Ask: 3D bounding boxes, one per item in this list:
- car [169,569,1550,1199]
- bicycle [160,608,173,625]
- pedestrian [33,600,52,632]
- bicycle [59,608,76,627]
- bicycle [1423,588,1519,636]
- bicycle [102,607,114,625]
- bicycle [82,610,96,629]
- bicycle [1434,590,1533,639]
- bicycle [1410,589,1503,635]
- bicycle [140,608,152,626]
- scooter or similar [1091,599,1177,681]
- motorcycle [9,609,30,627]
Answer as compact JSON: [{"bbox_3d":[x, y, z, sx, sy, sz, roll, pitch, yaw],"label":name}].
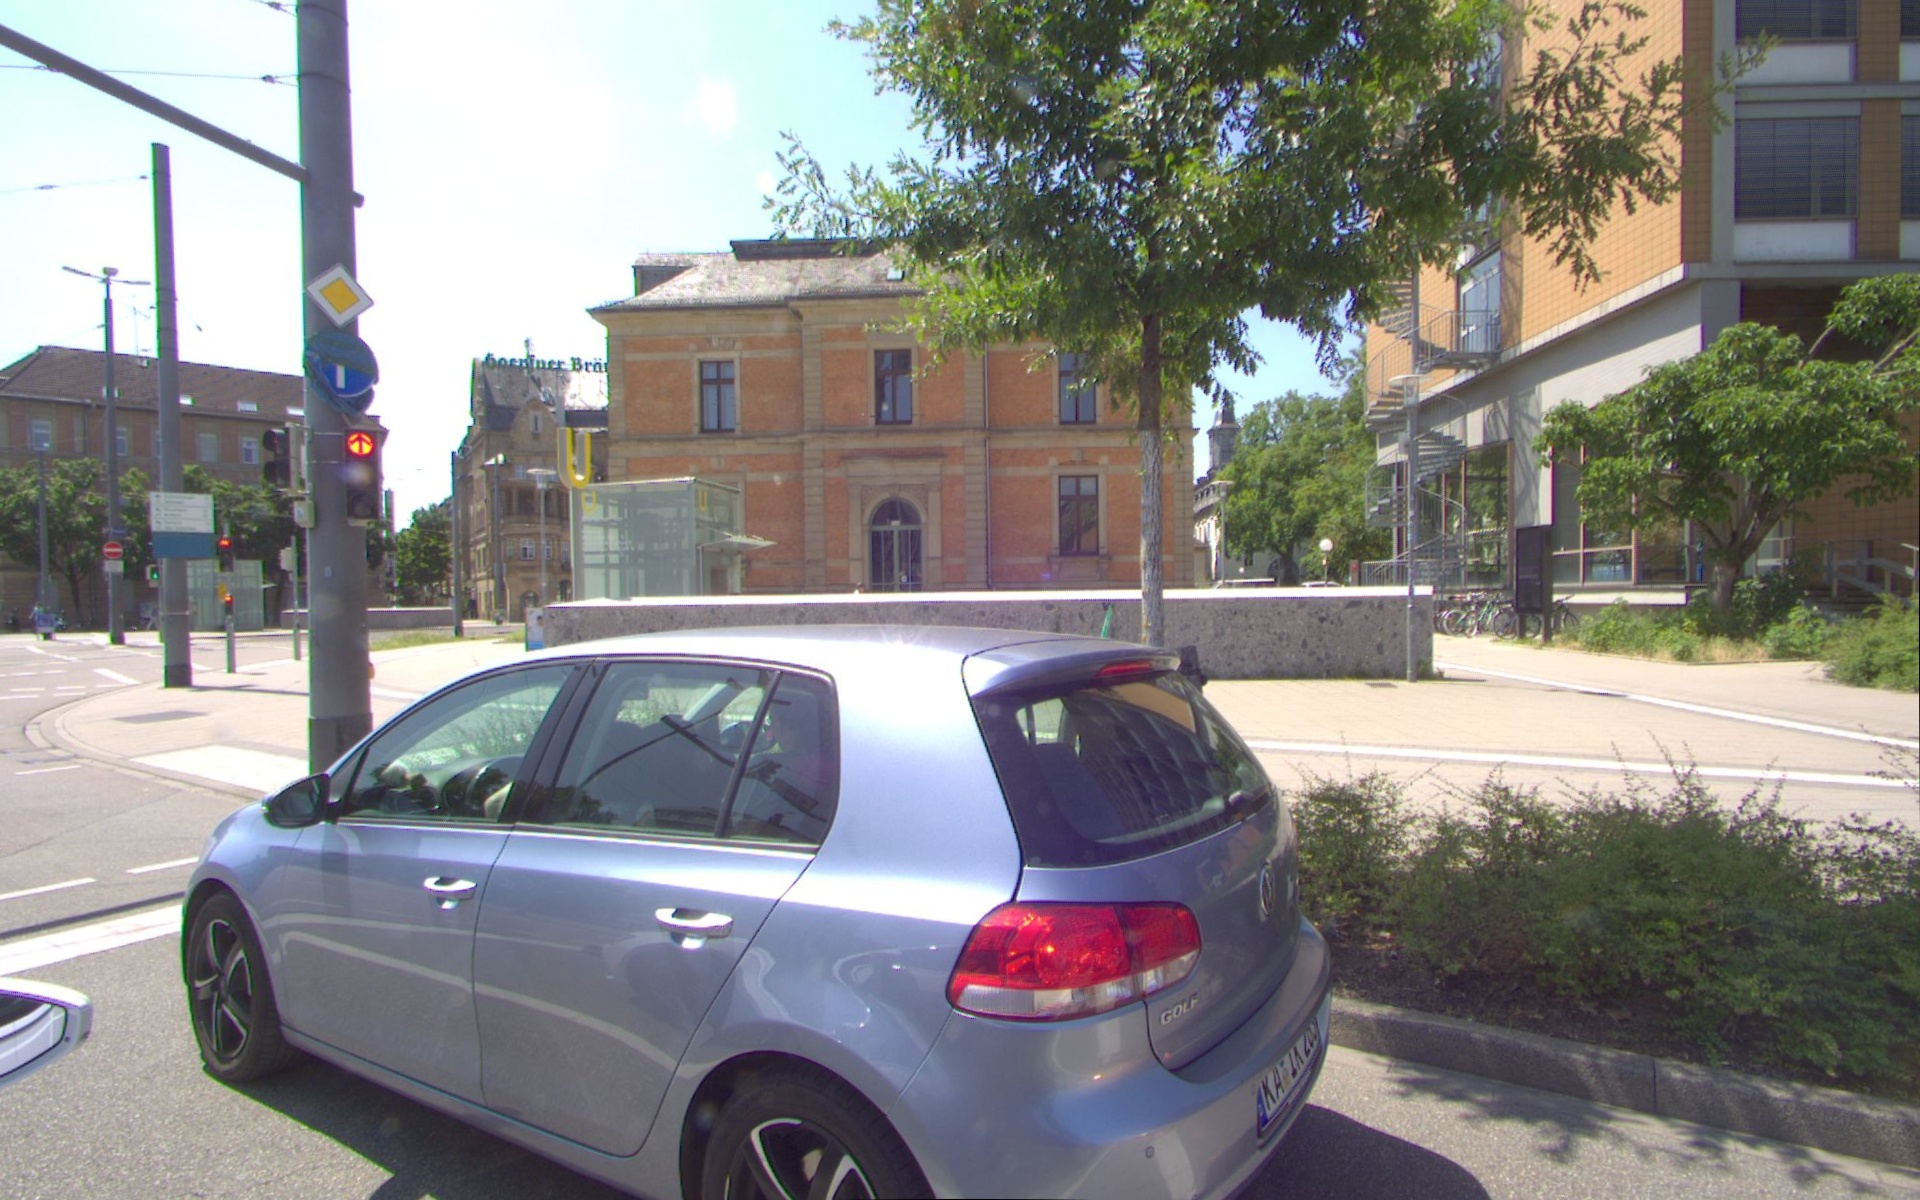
[{"bbox_3d":[-0.544,0.737,2.991,3.946,1.478,1.648,0,-1,32],"label":"car"},{"bbox_3d":[-52.011,1.076,65.643,0.547,1.135,1.912,-1,1,-41],"label":"bicycle"},{"bbox_3d":[-49.584,0.864,54.123,0.628,1.731,0.461,0,1,15],"label":"pedestrian"},{"bbox_3d":[-55.263,1.107,61.997,2.069,1.160,0.440,-2,-2,39],"label":"bicycle"},{"bbox_3d":[13.507,0.331,26.505,2.175,1.234,0.637,0,-1,5],"label":"bicycle"},{"bbox_3d":[-53.535,1.002,62.923,0.547,1.135,1.804,-1,1,-41],"label":"bicycle"},{"bbox_3d":[-54.271,1.212,62.394,0.546,1.135,1.806,-1,1,-38],"label":"bicycle"},{"bbox_3d":[13.419,0.372,25.712,2.175,1.234,0.637,0,-1,5],"label":"bicycle"},{"bbox_3d":[13.503,0.332,27.271,2.175,1.234,0.637,0,-1,5],"label":"bicycle"},{"bbox_3d":[-52.605,1.071,64.720,0.547,1.135,1.854,-1,1,-41],"label":"bicycle"},{"bbox_3d":[2.573,0.583,14.817,1.227,1.186,0.458,0,1,13],"label":"scooter or similar"},{"bbox_3d":[-56.121,1.068,59.759,1.920,1.089,0.578,0,1,36],"label":"motorcycle"}]
